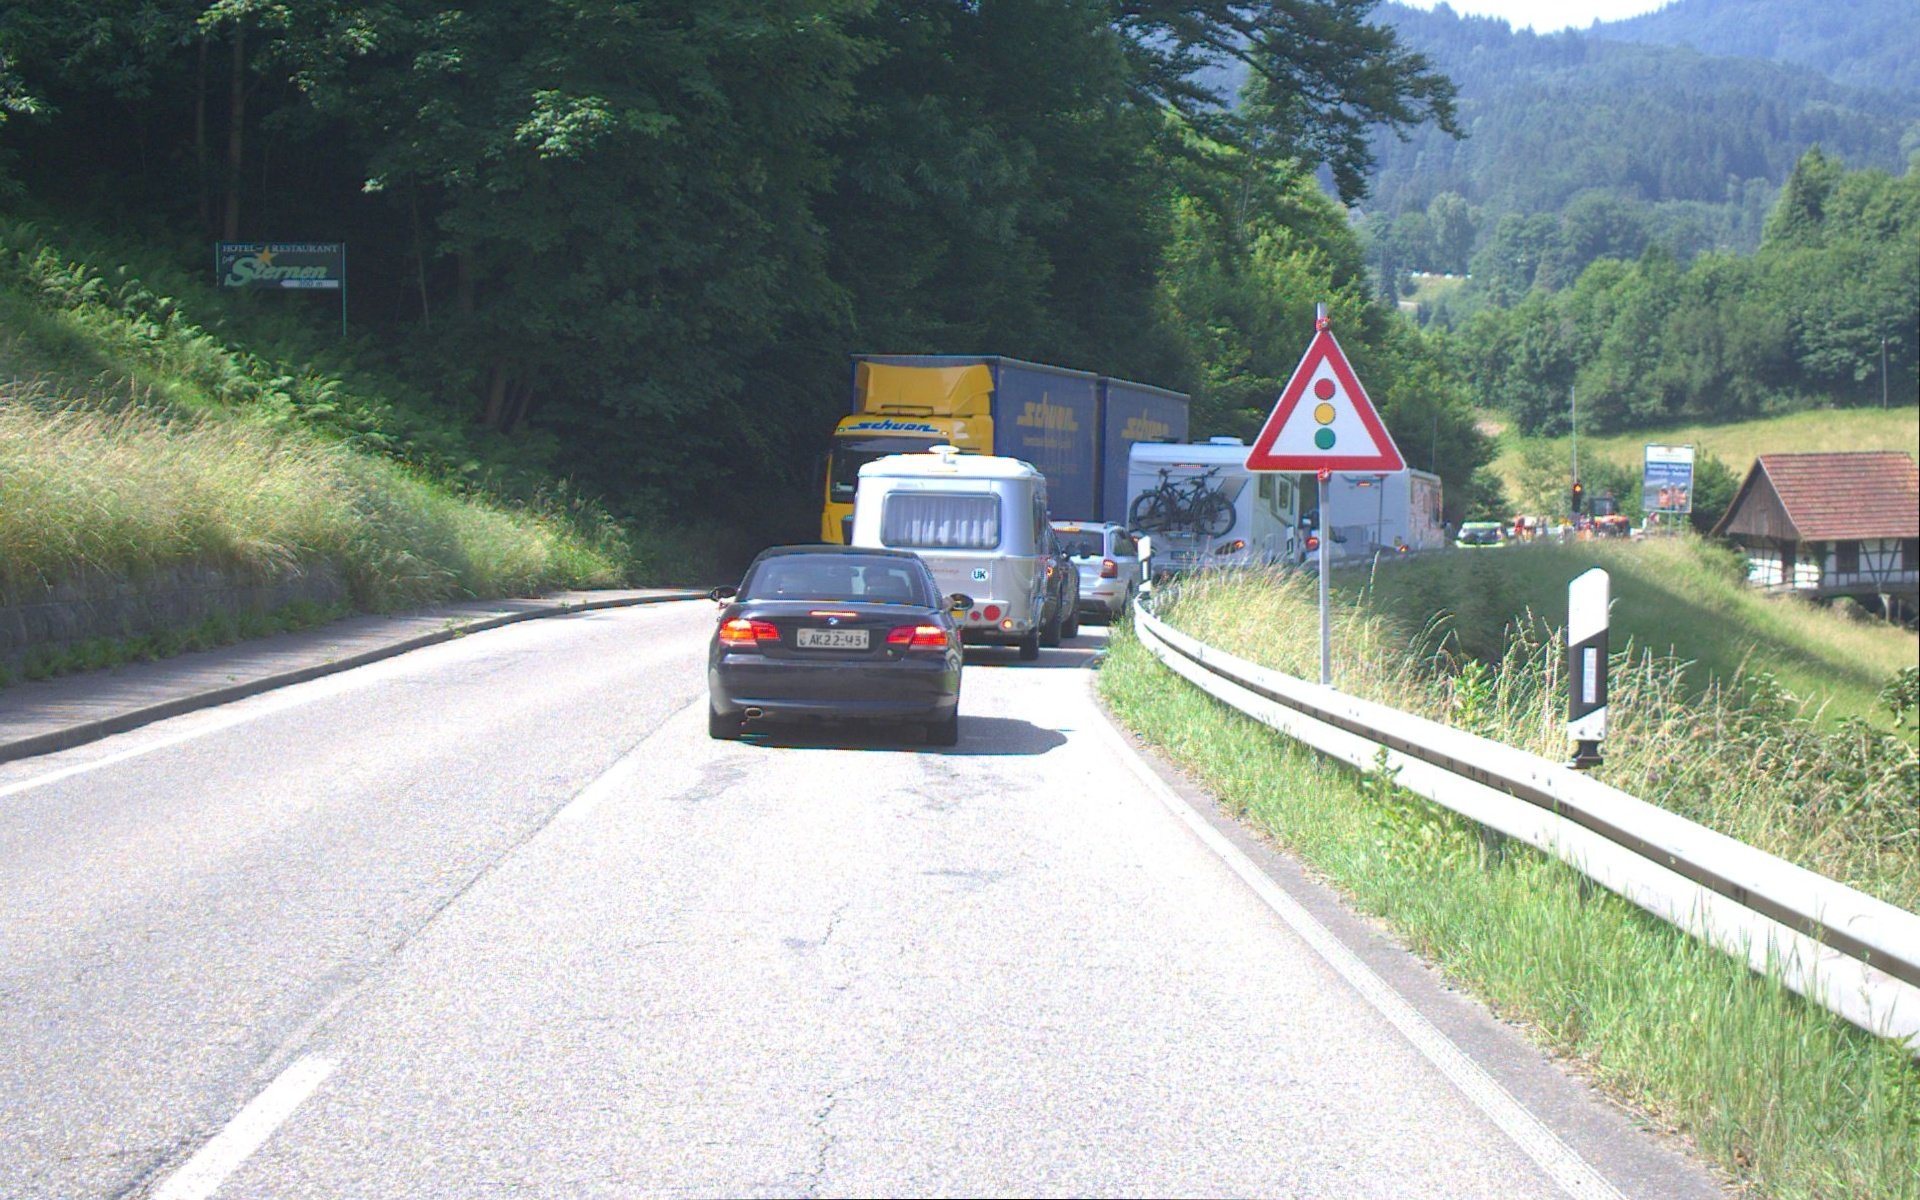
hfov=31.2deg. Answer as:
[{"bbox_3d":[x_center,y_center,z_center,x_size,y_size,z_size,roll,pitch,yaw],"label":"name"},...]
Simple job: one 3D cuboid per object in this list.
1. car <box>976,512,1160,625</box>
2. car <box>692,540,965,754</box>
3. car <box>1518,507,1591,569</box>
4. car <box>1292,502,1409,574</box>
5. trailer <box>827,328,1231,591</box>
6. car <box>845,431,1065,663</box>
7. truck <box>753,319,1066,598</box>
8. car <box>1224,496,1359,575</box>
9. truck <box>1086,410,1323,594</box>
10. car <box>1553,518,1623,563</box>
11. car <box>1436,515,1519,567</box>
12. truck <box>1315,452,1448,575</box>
[{"bbox_3d":[1.627,-0.487,50.363,1.994,1.479,3.998,4,2,11],"label":"car"},{"bbox_3d":[-0.943,0.283,24.793,1.771,1.331,3.767,2,2,-2],"label":"car"},{"bbox_3d":[20.050,-2.117,115.845,1.995,1.919,3.998,5,2,14],"label":"car"},{"bbox_3d":[8.880,-1.423,77.906,1.789,1.459,3.997,4,3,18],"label":"car"},{"bbox_3d":[1.721,-2.610,66.353,3.263,4.402,15.302,3,2,18],"label":"trailer"},{"bbox_3d":[0.019,-0.664,38.127,1.994,2.344,4.914,2,3,4],"label":"car"},{"bbox_3d":[-0.750,-2.408,58.897,3.191,4.381,6.566,3,3,18],"label":"truck"},{"bbox_3d":[6.961,-1.368,71.858,1.995,1.459,3.997,4,3,17],"label":"car"},{"bbox_3d":[4.550,-1.783,62.584,2.793,2.987,6.863,4,3,16],"label":"truck"},{"bbox_3d":[24.284,-2.293,132.918,1.995,1.570,3.996,3,1,19],"label":"car"},{"bbox_3d":[16.087,-1.811,106.820,1.908,1.481,3.996,3,1,17],"label":"car"},{"bbox_3d":[10.421,-2.089,84.587,2.239,2.794,6.227,3,1,15],"label":"truck"}]
